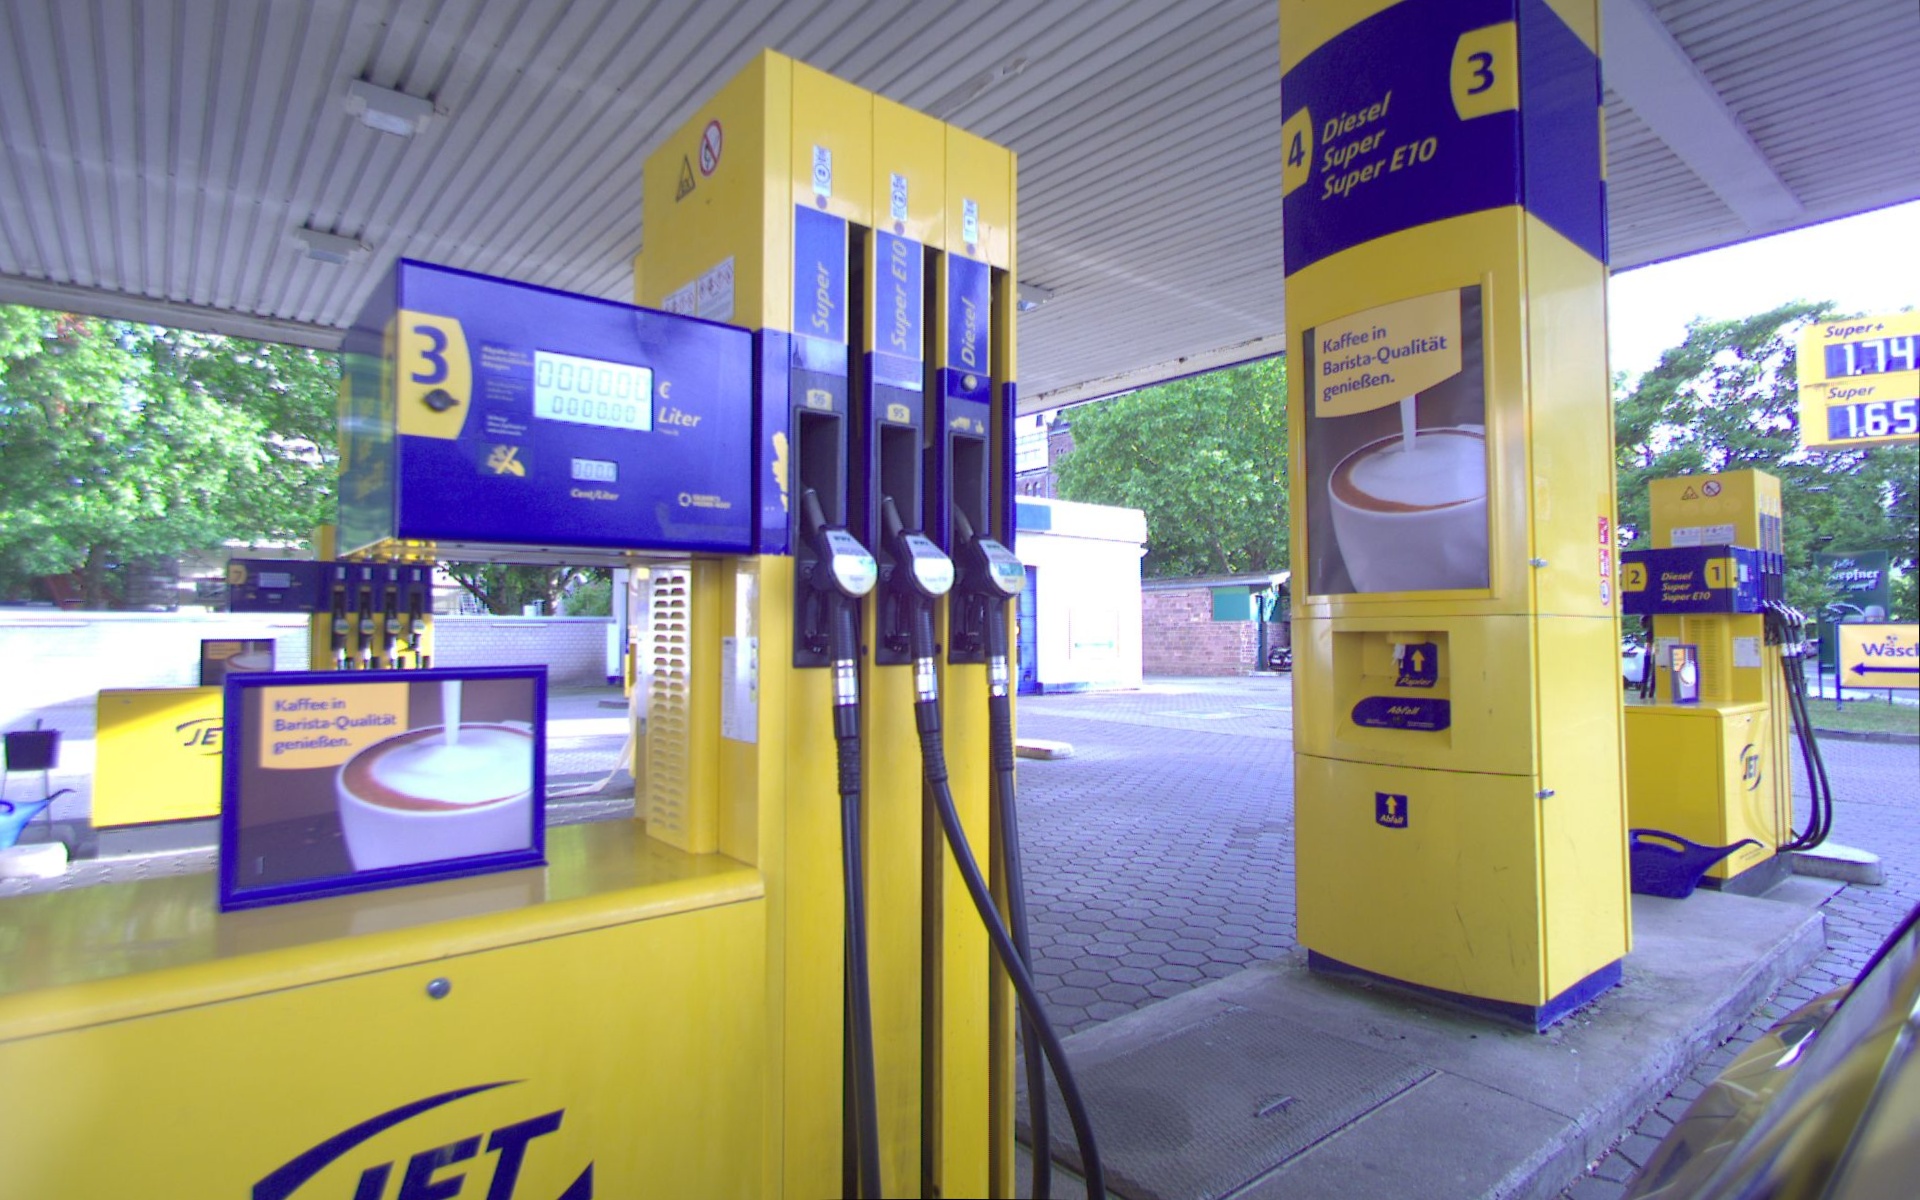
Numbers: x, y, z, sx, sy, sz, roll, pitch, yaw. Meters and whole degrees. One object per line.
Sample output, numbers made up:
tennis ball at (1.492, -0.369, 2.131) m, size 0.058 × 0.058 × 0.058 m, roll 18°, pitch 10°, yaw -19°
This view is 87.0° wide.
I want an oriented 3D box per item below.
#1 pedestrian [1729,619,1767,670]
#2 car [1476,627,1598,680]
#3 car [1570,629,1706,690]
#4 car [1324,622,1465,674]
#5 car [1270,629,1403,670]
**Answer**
pedestrian at (31.930, 1.785, 41.022) m, size 0.923 × 2.040 × 1.205 m, roll 0°, pitch -2°, yaw 25°
car at (17.561, 1.638, 30.758) m, size 3.923 × 1.529 × 1.740 m, roll 3°, pitch -3°, yaw -35°
car at (18.226, 1.559, 27.171) m, size 3.923 × 1.529 × 1.740 m, roll 2°, pitch -3°, yaw -35°
car at (13.794, 1.544, 32.158) m, size 4.134 × 1.544 × 1.791 m, roll 2°, pitch -3°, yaw -24°
car at (12.835, 1.694, 34.507) m, size 4.134 × 1.294 × 1.751 m, roll 2°, pitch -3°, yaw -22°
